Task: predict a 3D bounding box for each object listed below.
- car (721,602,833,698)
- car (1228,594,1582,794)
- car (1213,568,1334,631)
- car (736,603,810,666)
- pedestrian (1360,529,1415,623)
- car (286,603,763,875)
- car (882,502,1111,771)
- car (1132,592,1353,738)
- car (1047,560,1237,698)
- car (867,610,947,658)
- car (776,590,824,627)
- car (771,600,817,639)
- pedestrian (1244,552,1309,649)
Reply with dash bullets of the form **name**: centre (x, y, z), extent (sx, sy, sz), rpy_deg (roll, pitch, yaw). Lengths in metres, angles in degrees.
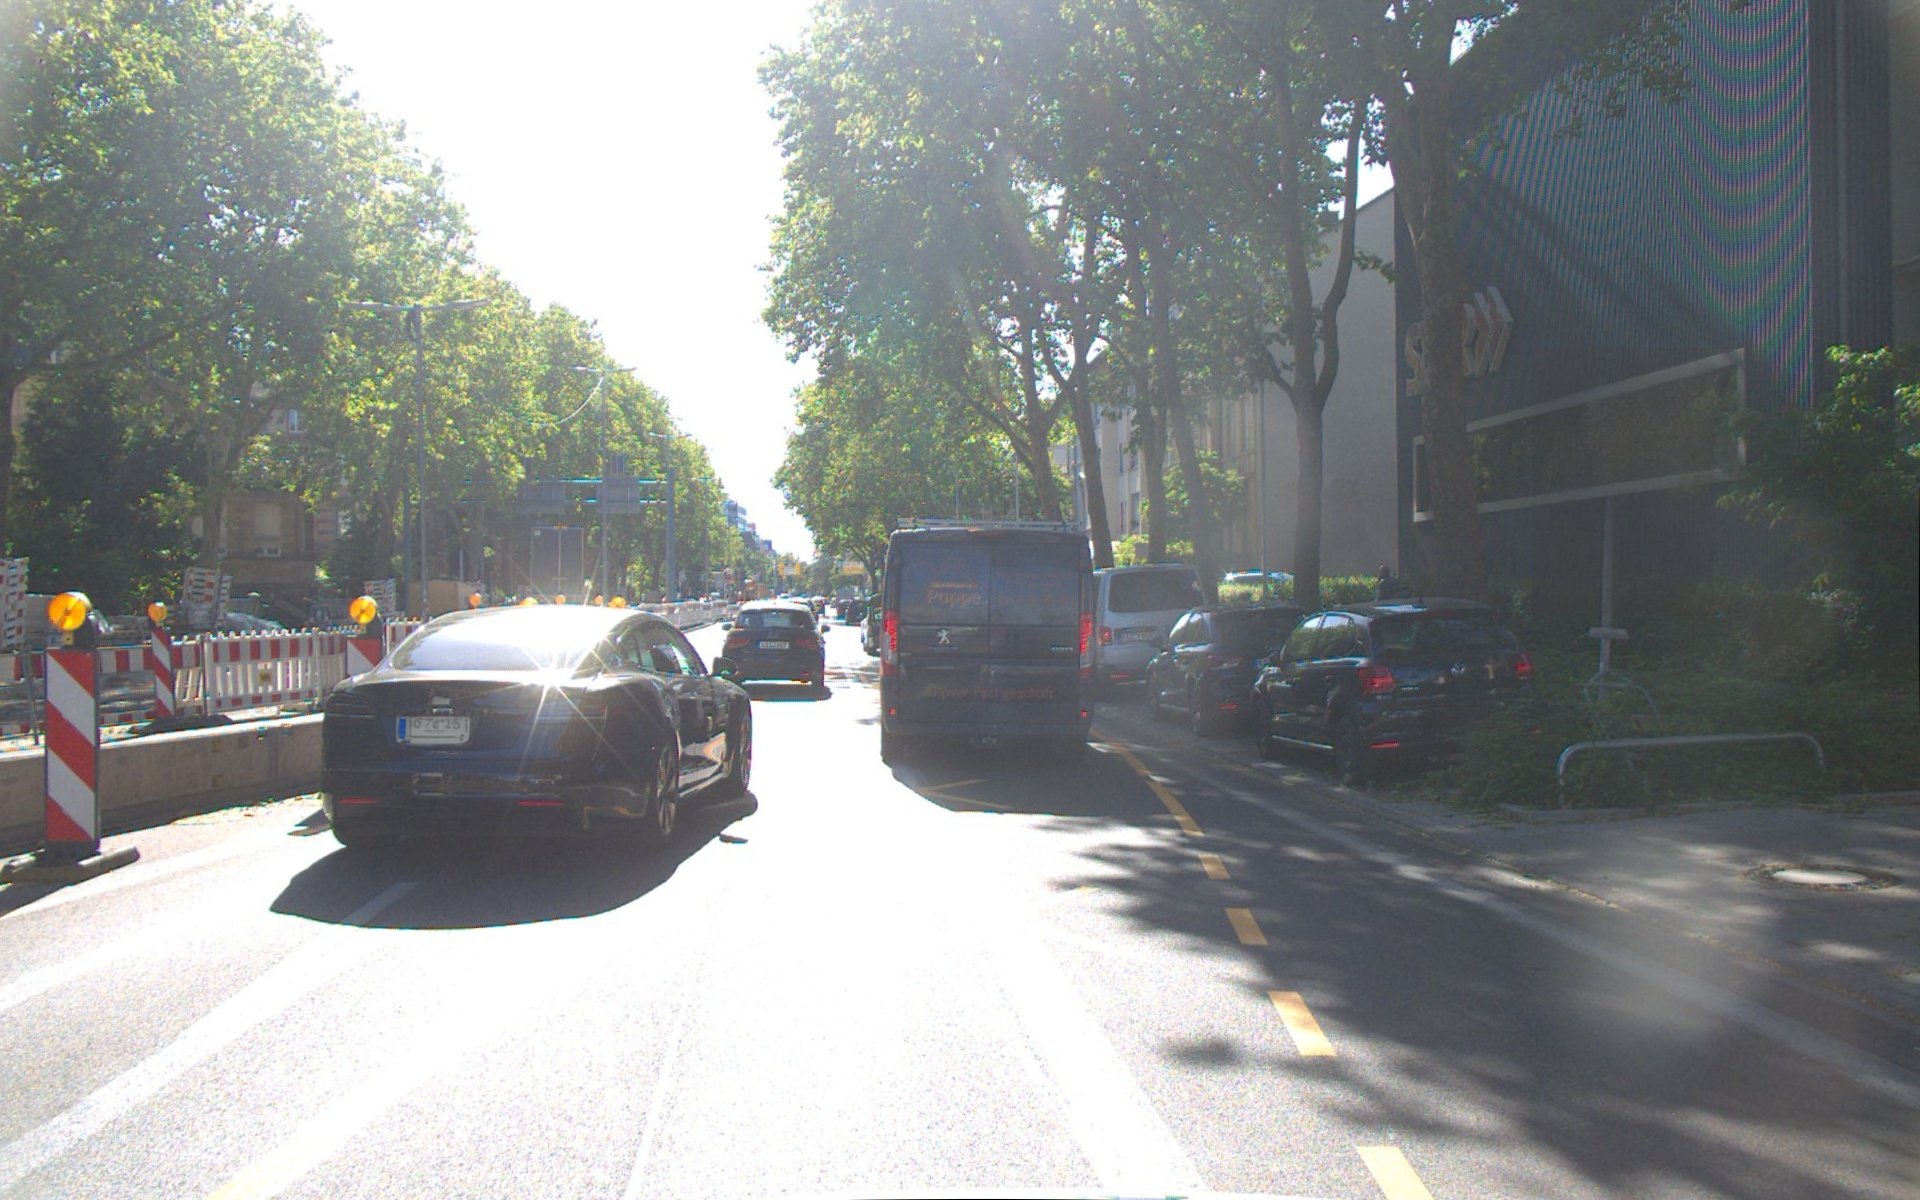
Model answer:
- **car**: centre (-3.073, 0.781, 27.621), extent (1.713, 1.432, 3.994), rpy_deg (1, 1, -7)
- **car**: centre (3.815, 0.727, 14.987), extent (1.729, 1.534, 4.246), rpy_deg (0, 0, -5)
- **car**: centre (9.678, -0.021, 51.284), extent (1.692, 1.886, 3.460), rpy_deg (1, 0, -38)
- **car**: centre (-4.464, 0.794, 39.863), extent (1.517, 1.450, 3.553), rpy_deg (0, 0, -3)
- **pedestrian**: centre (7.819, -0.451, 30.284), extent (0.692, 1.677, 0.674), rpy_deg (2, 2, -8)
- **car**: centre (-2.609, 0.748, 11.166), extent (1.885, 1.436, 4.626), rpy_deg (0, 0, 1)
- **car**: centre (0.238, 0.311, 16.782), extent (2.053, 2.396, 3.931), rpy_deg (0, 1, -3)
- **car**: centre (3.275, 0.711, 19.943), extent (1.625, 1.567, 4.124), rpy_deg (0, 0, -5)
- **car**: centre (2.785, 0.413, 26.610), extent (1.987, 1.980, 5.267), rpy_deg (0, 0, -6)
- **car**: centre (-1.548, 0.924, 46.631), extent (1.955, 1.271, 3.994), rpy_deg (0, 0, -7)
- **car**: centre (-7.235, 0.374, 75.042), extent (1.954, 1.616, 3.998), rpy_deg (-1, 0, -3)
- **car**: centre (-5.496, 0.632, 55.042), extent (1.393, 1.246, 3.435), rpy_deg (-1, 0, -4)
- **pedestrian**: centre (5.433, 0.005, 28.443), extent (0.714, 1.630, 1.265), rpy_deg (0, 0, -8)
